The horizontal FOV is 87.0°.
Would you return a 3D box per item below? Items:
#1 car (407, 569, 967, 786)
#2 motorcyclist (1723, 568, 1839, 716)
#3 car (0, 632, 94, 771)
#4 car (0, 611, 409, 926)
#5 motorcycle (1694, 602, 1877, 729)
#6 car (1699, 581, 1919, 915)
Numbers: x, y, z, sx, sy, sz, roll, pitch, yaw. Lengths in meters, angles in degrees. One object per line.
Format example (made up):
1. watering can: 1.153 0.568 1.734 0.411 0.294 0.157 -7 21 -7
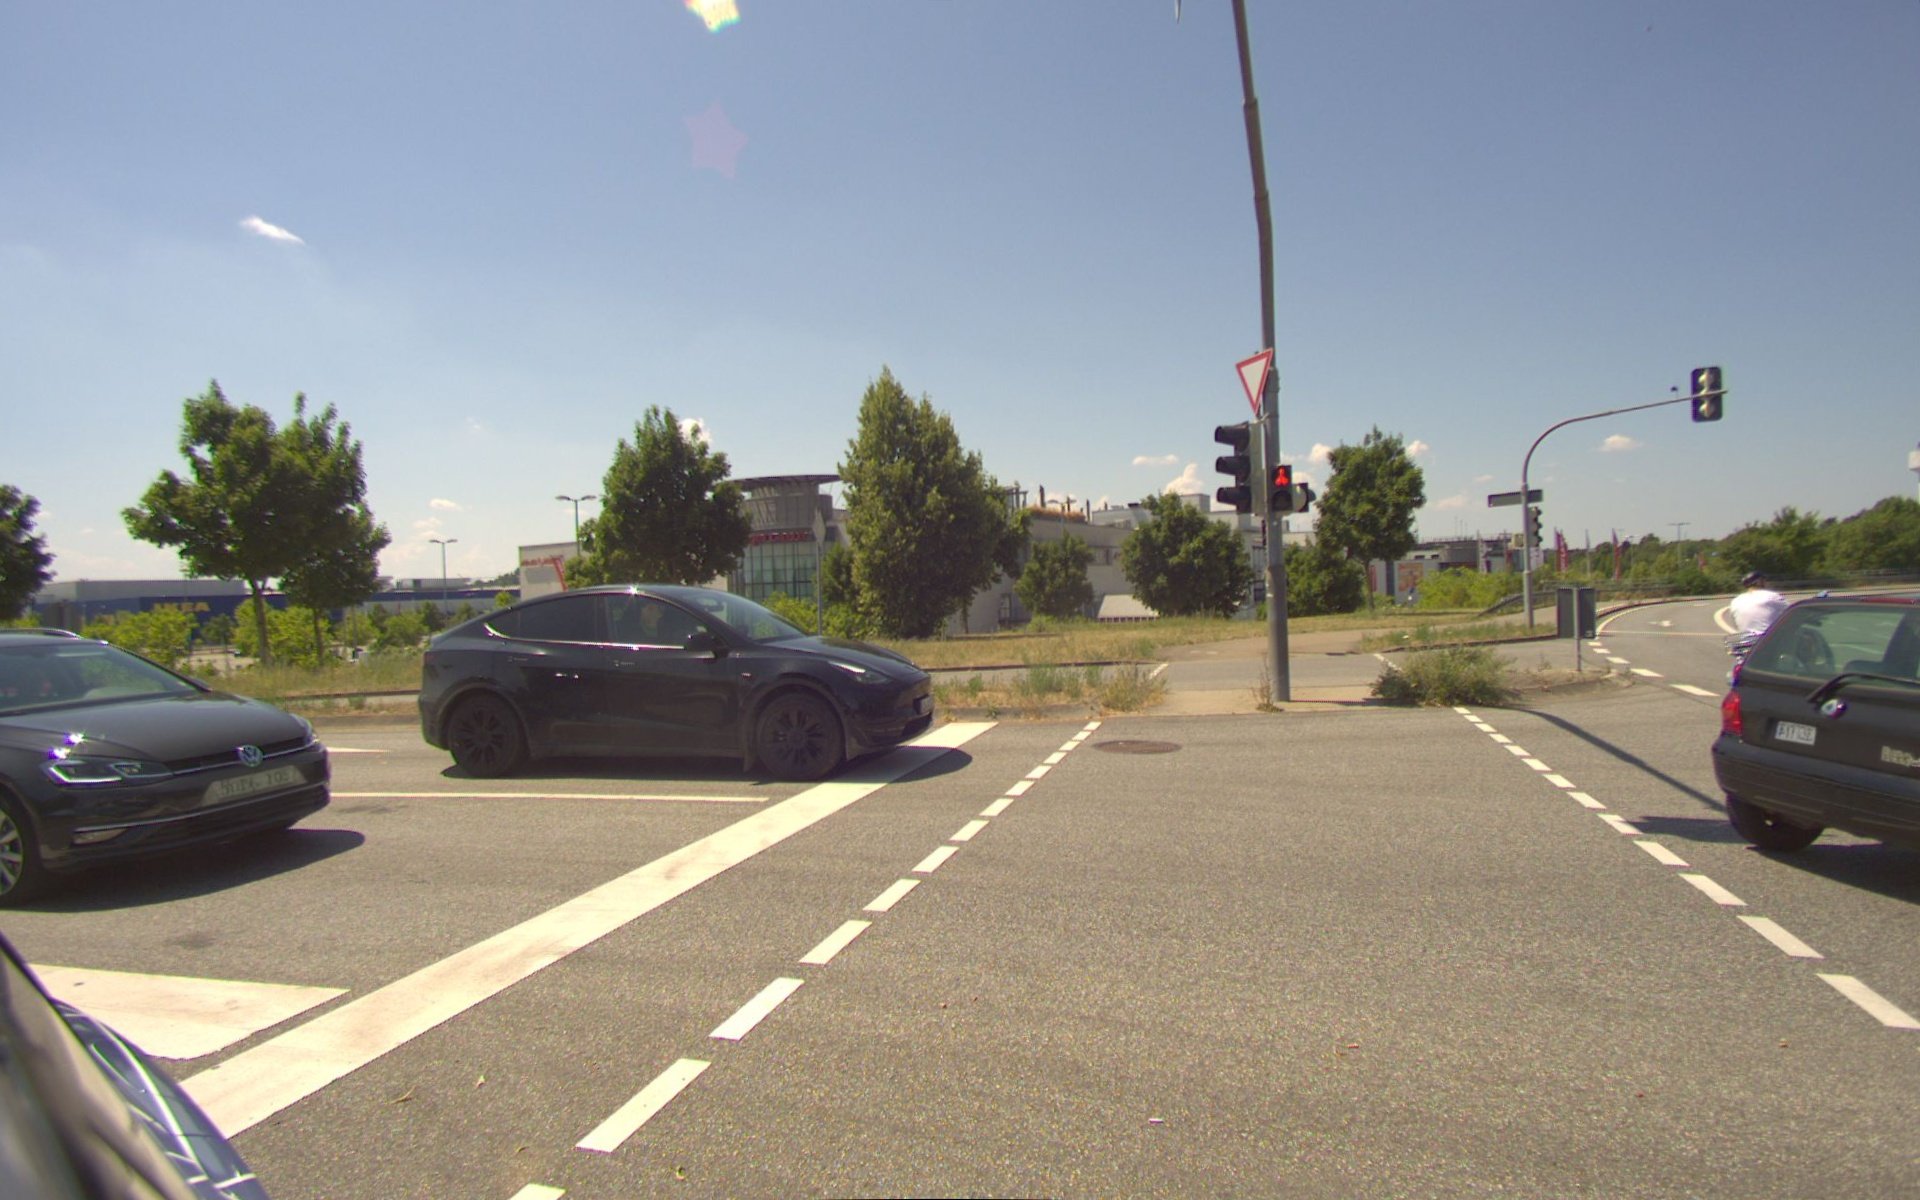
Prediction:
1. car: -2.335 0.665 9.083 4.460 1.613 1.874 -3 0 13
2. motorcyclist: 9.001 0.437 11.107 0.832 1.551 0.615 -2 1 -18
3. car: -12.145 1.189 11.072 4.402 1.398 1.661 -3 0 11
4. car: -6.007 0.940 6.332 4.384 1.493 1.777 -3 0 13
5. motorcycle: 8.940 0.673 10.958 1.908 1.247 0.580 -2 1 -18
6. car: 5.688 0.657 4.750 3.252 1.418 1.625 1 -1 -3
